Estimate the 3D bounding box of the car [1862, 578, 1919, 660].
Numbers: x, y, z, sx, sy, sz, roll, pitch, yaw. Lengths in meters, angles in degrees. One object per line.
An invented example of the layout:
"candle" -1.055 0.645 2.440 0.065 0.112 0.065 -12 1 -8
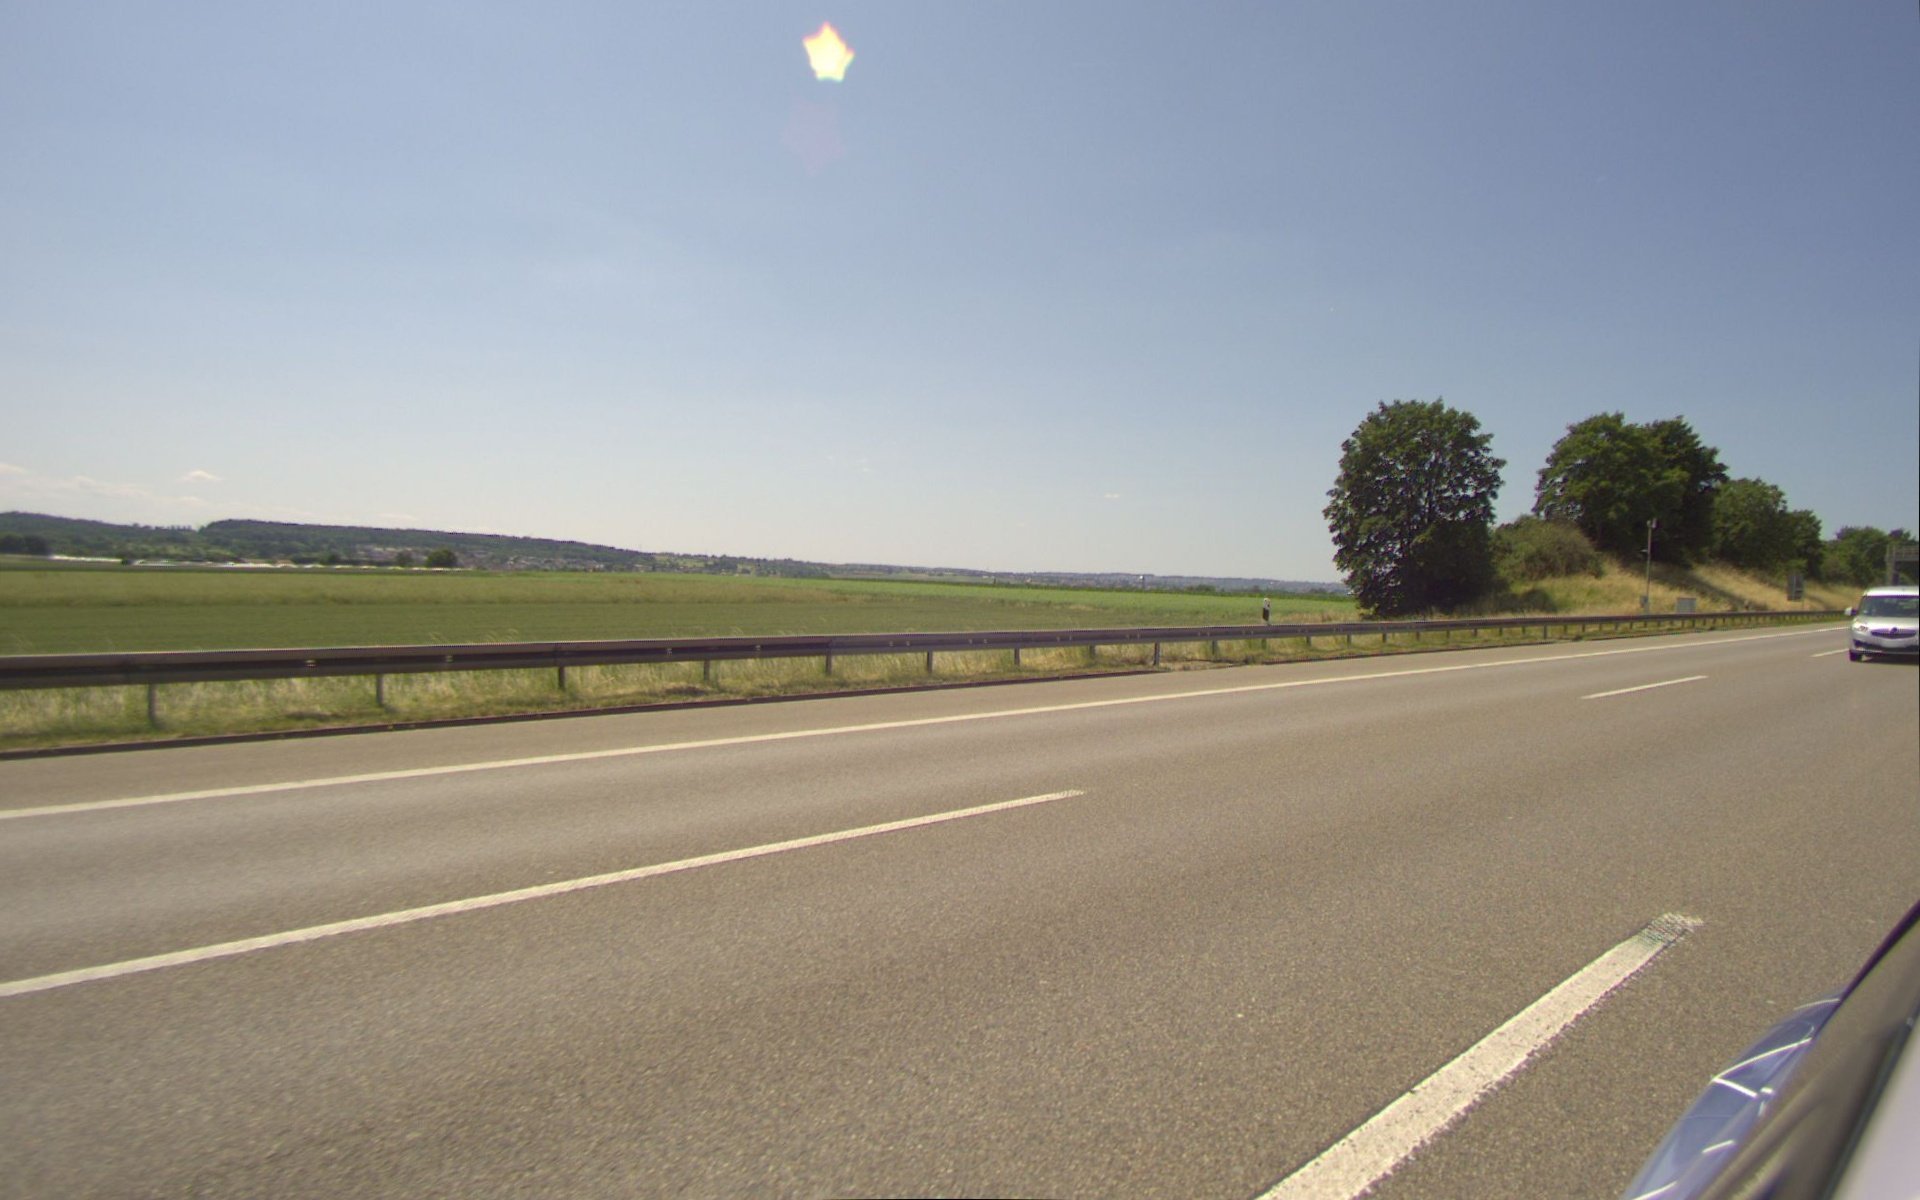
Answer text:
"car" 23.799 0.427 24.949 5.221 1.870 1.810 0 1 -42
